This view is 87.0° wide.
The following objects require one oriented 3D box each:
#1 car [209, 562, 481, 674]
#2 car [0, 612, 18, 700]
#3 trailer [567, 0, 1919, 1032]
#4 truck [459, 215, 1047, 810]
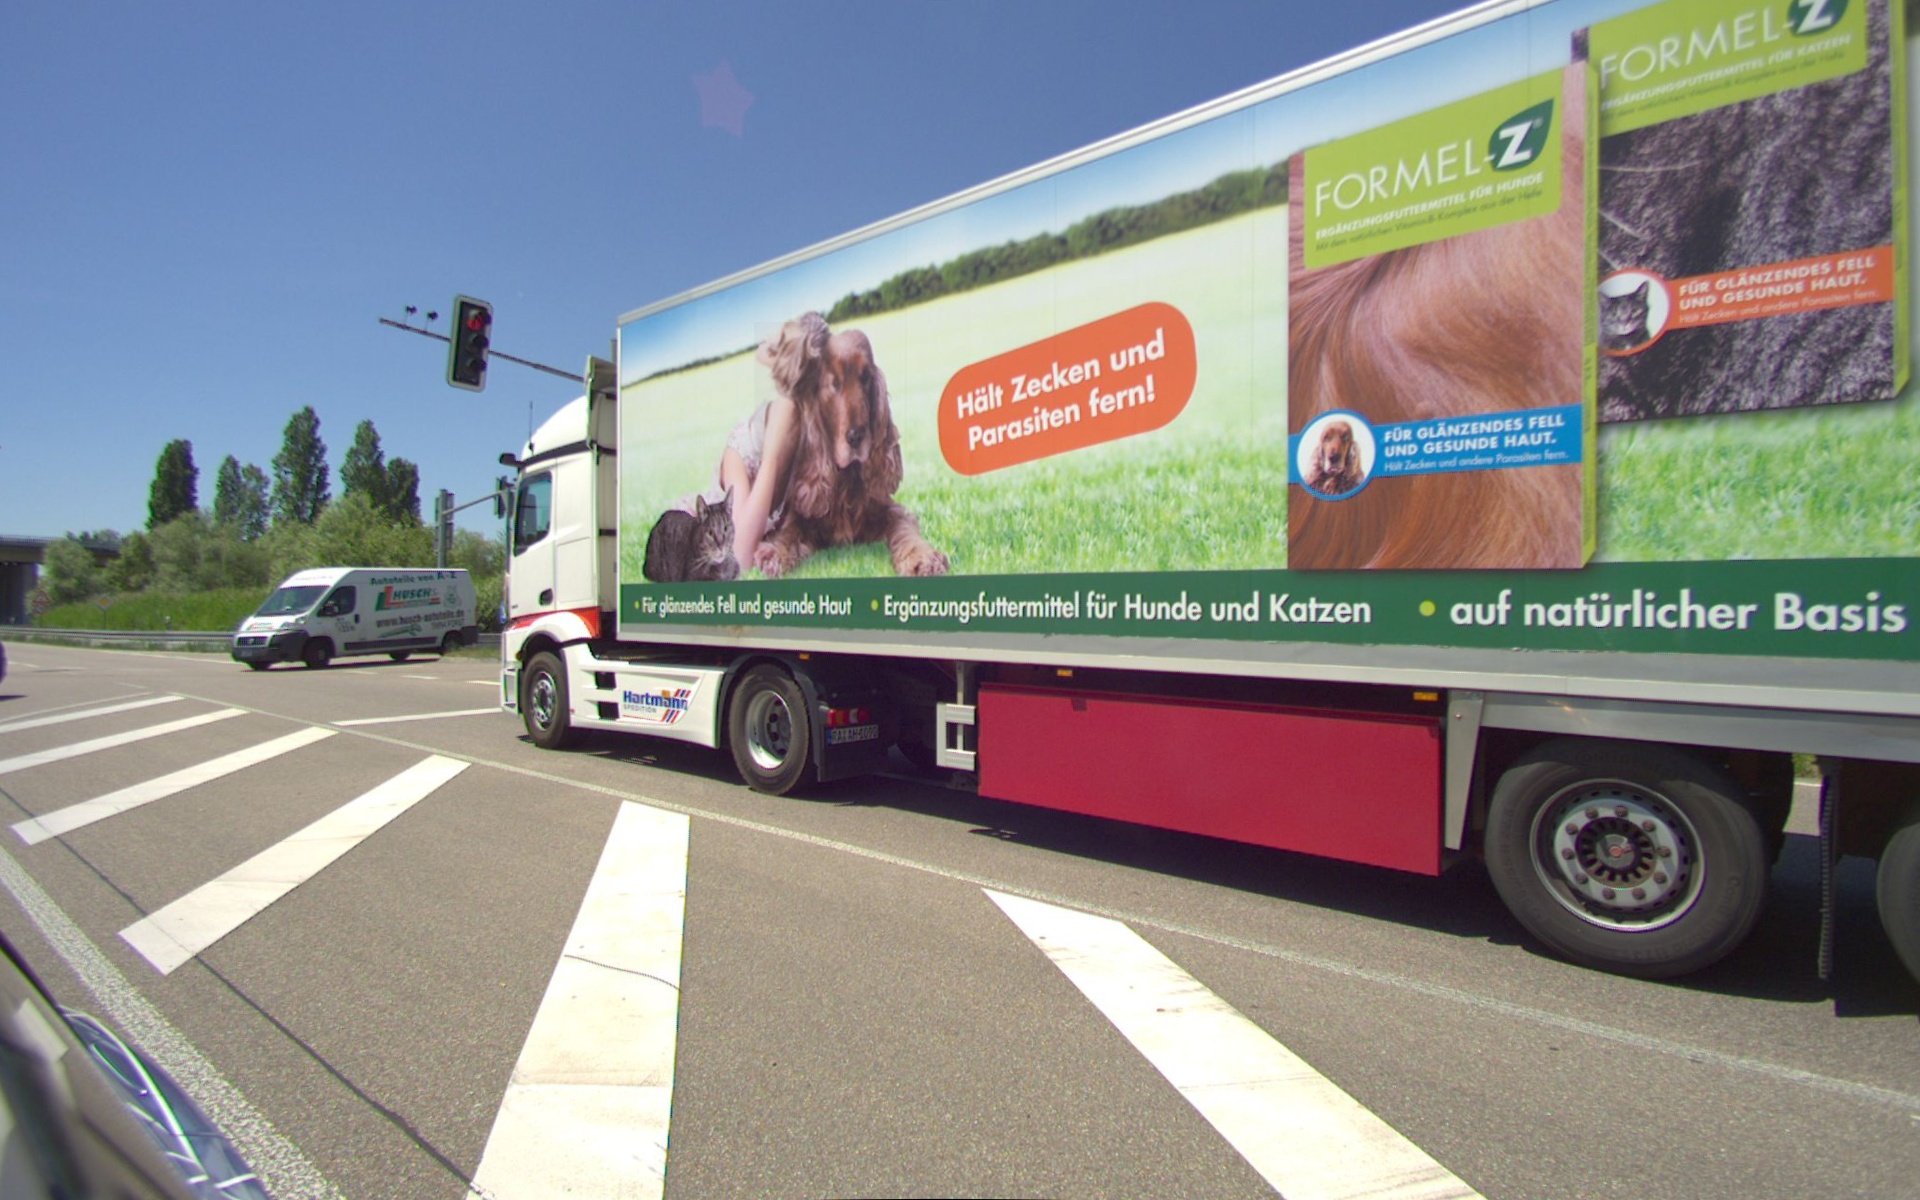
[{"bbox_3d":[-15.481,0.435,26.012,2.212,2.514,5.945,-1,-1,19],"label":"car"},{"bbox_3d":[-15.899,0.895,14.467,1.817,1.434,4.577,0,0,-18],"label":"car"},{"bbox_3d":[2.573,-0.629,5.526,14.119,4.075,2.661,-1,0,42],"label":"trailer"},{"bbox_3d":[-2.295,-0.581,9.870,5.823,4.075,2.661,-1,0,42],"label":"truck"}]
